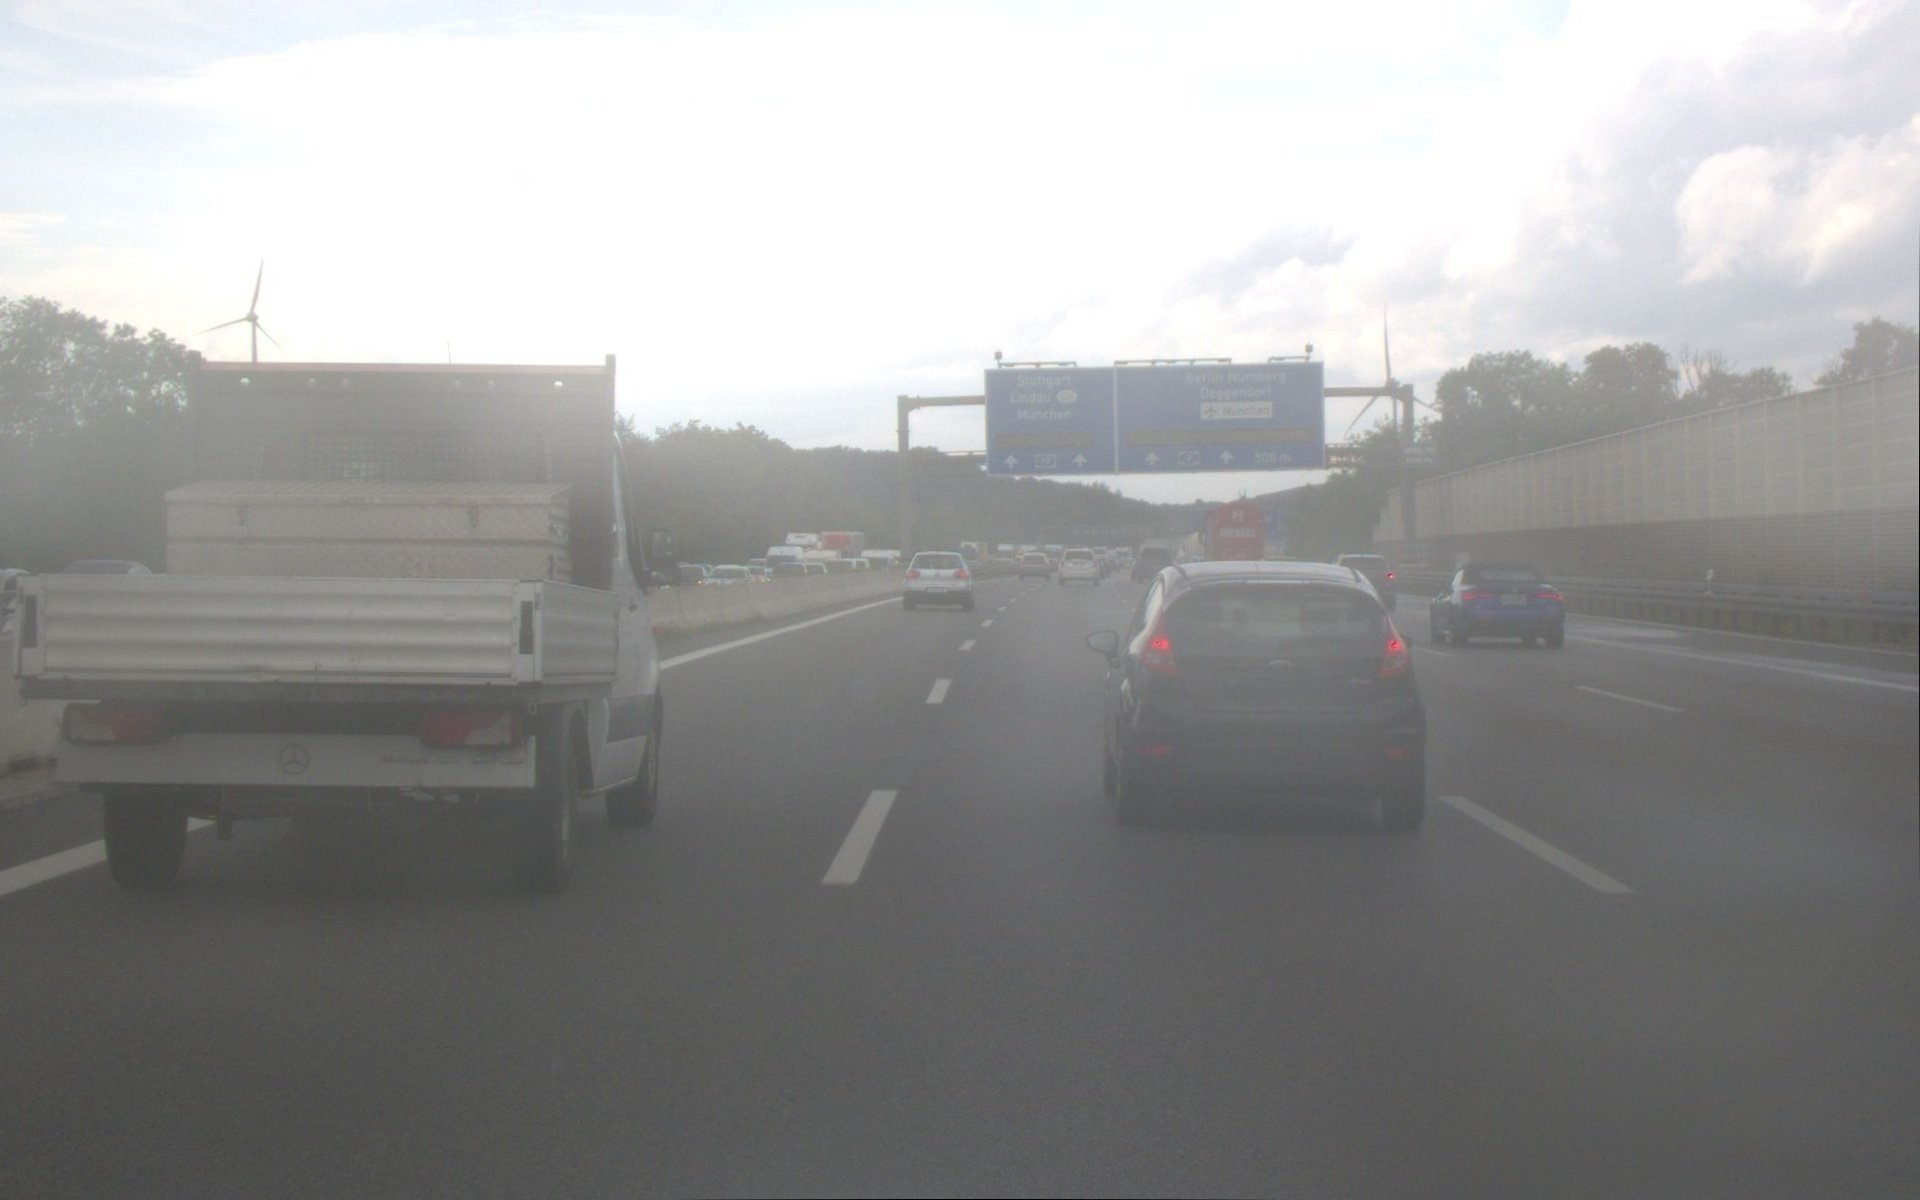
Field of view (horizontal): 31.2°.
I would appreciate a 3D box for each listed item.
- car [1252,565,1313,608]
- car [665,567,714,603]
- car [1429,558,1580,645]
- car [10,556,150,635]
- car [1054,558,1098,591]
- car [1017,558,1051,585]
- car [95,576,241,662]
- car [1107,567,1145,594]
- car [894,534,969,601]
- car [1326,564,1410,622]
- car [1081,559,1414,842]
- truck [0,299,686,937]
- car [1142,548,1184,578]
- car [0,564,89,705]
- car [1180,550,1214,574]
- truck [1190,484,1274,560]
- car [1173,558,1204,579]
[{"bbox_3d":[11.947,-0.508,127.546,1.882,1.555,4.433,0,0,0],"label":"car"},{"bbox_3d":[-12.566,-0.693,159.756,1.723,1.597,4.644,1,0,2],"label":"car"},{"bbox_3d":[9.120,0.004,57.881,1.950,1.413,4.232,0,1,1],"label":"car"},{"bbox_3d":[-19.195,-0.115,75.184,1.723,1.640,4.519,1,0,2],"label":"car"},{"bbox_3d":[5.530,-1.207,164.859,1.968,1.555,4.433,0,0,0],"label":"car"},{"bbox_3d":[4.449,-1.720,206.507,1.968,1.555,4.433,0,0,0],"label":"car"},{"bbox_3d":[-16.035,0.352,69.788,1.723,1.640,4.519,1,0,2],"label":"car"},{"bbox_3d":[10.049,-1.178,208.190,1.968,1.555,4.433,0,0,-1],"label":"car"},{"bbox_3d":[-0.697,-0.847,87.591,1.717,1.618,4.278,0,2,2],"label":"car"},{"bbox_3d":[11.165,-0.197,94.309,1.882,1.537,4.433,0,0,1],"label":"car"},{"bbox_3d":[1.578,0.496,19.988,1.717,1.412,4.278,0,1,2],"label":"car"},{"bbox_3d":[-2.732,-0.018,16.782,2.307,2.431,7.149,1,1,-1],"label":"truck"},{"bbox_3d":[10.967,-1.997,185.929,1.968,1.555,4.433,0,0,0],"label":"car"},{"bbox_3d":[-12.114,0.385,41.437,1.723,1.640,5.062,1,0,2],"label":"car"},{"bbox_3d":[15.654,-2.503,227.159,1.968,1.555,4.433,0,0,0],"label":"car"},{"bbox_3d":[13.494,-3.893,171.467,3.152,3.589,12.700,1,1,0],"label":"truck"},{"bbox_3d":[16.703,-2.306,251.220,1.968,1.555,4.433,0,0,0],"label":"car"}]
